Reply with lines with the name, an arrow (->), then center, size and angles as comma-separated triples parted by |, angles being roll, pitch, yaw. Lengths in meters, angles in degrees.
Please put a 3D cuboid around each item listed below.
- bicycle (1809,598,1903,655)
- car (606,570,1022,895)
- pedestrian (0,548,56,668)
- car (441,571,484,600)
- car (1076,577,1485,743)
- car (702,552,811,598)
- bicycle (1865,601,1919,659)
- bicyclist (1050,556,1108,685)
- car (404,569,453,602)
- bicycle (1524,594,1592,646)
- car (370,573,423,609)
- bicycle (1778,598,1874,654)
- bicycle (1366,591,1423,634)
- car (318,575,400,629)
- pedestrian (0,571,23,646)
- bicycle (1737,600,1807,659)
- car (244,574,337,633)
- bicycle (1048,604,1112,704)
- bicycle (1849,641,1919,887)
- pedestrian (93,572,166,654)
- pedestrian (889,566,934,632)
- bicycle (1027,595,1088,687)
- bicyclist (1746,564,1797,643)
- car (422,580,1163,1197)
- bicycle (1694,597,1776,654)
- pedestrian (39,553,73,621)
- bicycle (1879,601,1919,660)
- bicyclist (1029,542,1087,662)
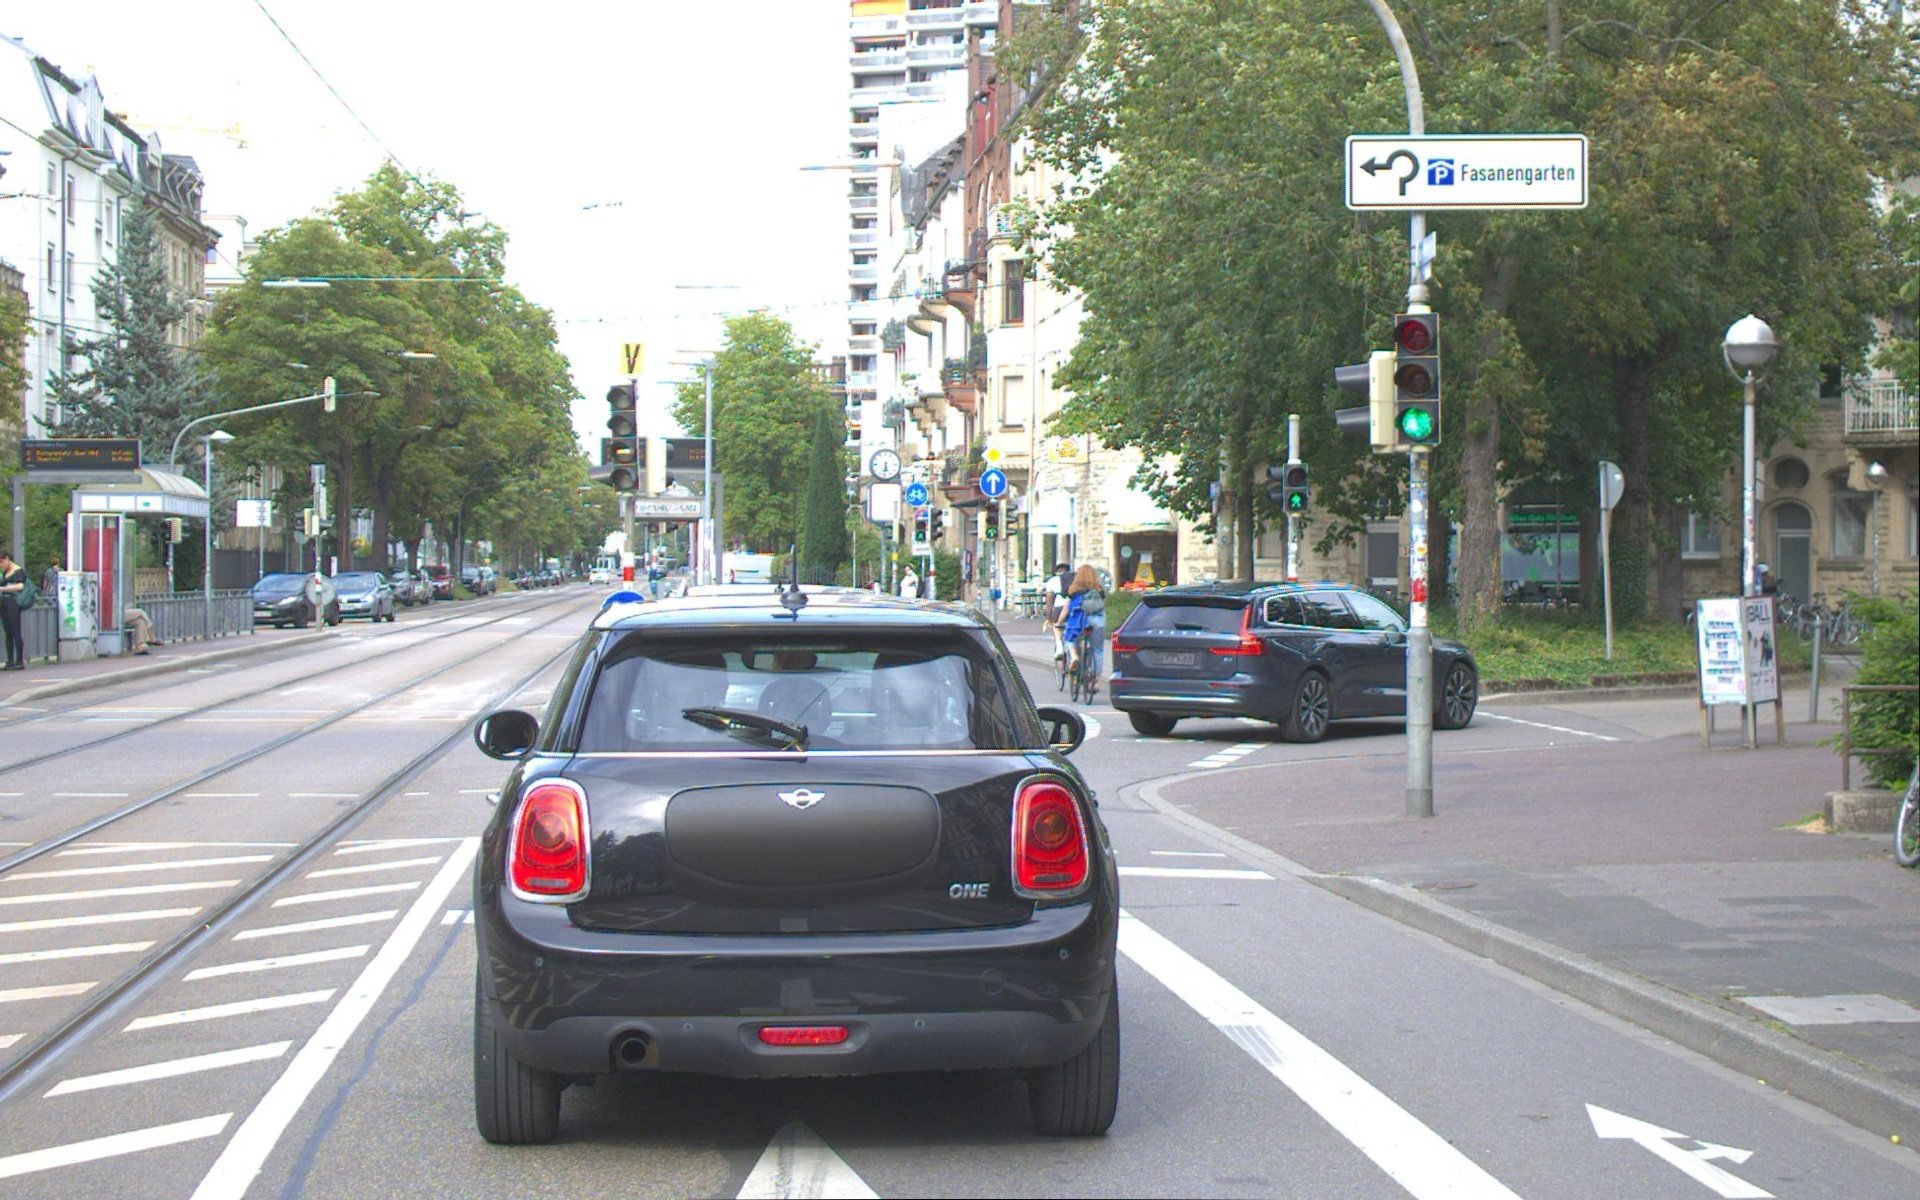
bicycle -> 17.956, 0.529, 68.902 | 1.887, 1.124, 0.595 | 0, 0, -27
car -> -0.816, 0.599, 17.960 | 1.926, 1.505, 4.001 | 0, 0, -4
pedestrian -> -12.761, 0.111, 46.705 | 0.851, 1.615, 0.843 | 0, 0, -9
car -> -26.938, -0.792, 186.208 | 1.993, 1.547, 4.001 | 0, 0, -4
car -> 3.082, 0.508, 32.275 | 1.755, 1.436, 4.470 | 1, 1, 37
car -> -10.062, -1.229, 169.913 | 5.026, 2.265, 2.395 | 0, 1, -44
bicycle -> 18.706, 0.583, 67.227 | 1.887, 1.124, 0.533 | 0, 0, -8
bicyclist -> 1.443, 0.237, 41.743 | 0.594, 1.545, 1.014 | 0, 1, -4
car -> -25.224, -0.713, 163.298 | 1.993, 1.547, 4.001 | 0, 0, -4
bicycle -> 13.133, 0.429, 75.487 | 0.667, 1.124, 1.889 | 1, 0, 38
car -> -22.397, -0.369, 136.706 | 1.766, 1.390, 4.001 | 0, 0, -5
bicycle -> 17.559, 0.518, 69.713 | 1.887, 1.124, 0.583 | 0, 0, -21
bicycle -> 9.952, 0.279, 78.736 | 0.532, 0.969, 1.645 | 1, 0, 38
car -> -17.152, 0.044, 98.240 | 1.751, 1.436, 4.000 | 2, 0, -3
pedestrian -> -22.003, 0.192, 79.035 | 0.832, 1.697, 0.733 | 0, 0, -9
bicycle -> 15.212, 0.544, 64.463 | 0.614, 1.073, 1.821 | 0, 1, -9
car -> -17.254, 0.066, 88.689 | 1.751, 1.436, 4.000 | 2, 0, -3
bicycle -> 1.445, 0.647, 41.750 | 0.598, 1.166, 1.697 | 0, 1, -4
bicycle -> 4.726, 0.762, 15.923 | 0.671, 1.102, 1.672 | 0, 1, -4
pedestrian -> -13.207, 0.210, 54.670 | 1.058, 1.289, 0.986 | 0, 0, -9
pedestrian -> -1.269, -0.034, 89.993 | 0.732, 1.668, 0.833 | -2, 1, 42
bicycle -> 1.277, 0.529, 45.198 | 0.684, 1.166, 1.697 | 0, 1, -2
bicyclist -> 15.216, 0.053, 64.469 | 0.614, 1.468, 0.915 | 0, 1, -9
car -> -0.585, 0.696, 10.344 | 1.751, 1.436, 4.001 | 2, 0, -5
bicycle -> 16.231, 0.527, 71.990 | 1.888, 1.124, 0.533 | -2, 1, -35
pedestrian -> -22.650, -0.330, 86.151 | 0.694, 1.713, 0.758 | 0, 0, -2
bicycle -> 18.833, 0.595, 66.649 | 1.887, 1.124, 0.533 | 0, 0, -8
bicyclist -> 1.280, 0.021, 45.139 | 0.684, 1.558, 0.998 | 0, 1, -2
